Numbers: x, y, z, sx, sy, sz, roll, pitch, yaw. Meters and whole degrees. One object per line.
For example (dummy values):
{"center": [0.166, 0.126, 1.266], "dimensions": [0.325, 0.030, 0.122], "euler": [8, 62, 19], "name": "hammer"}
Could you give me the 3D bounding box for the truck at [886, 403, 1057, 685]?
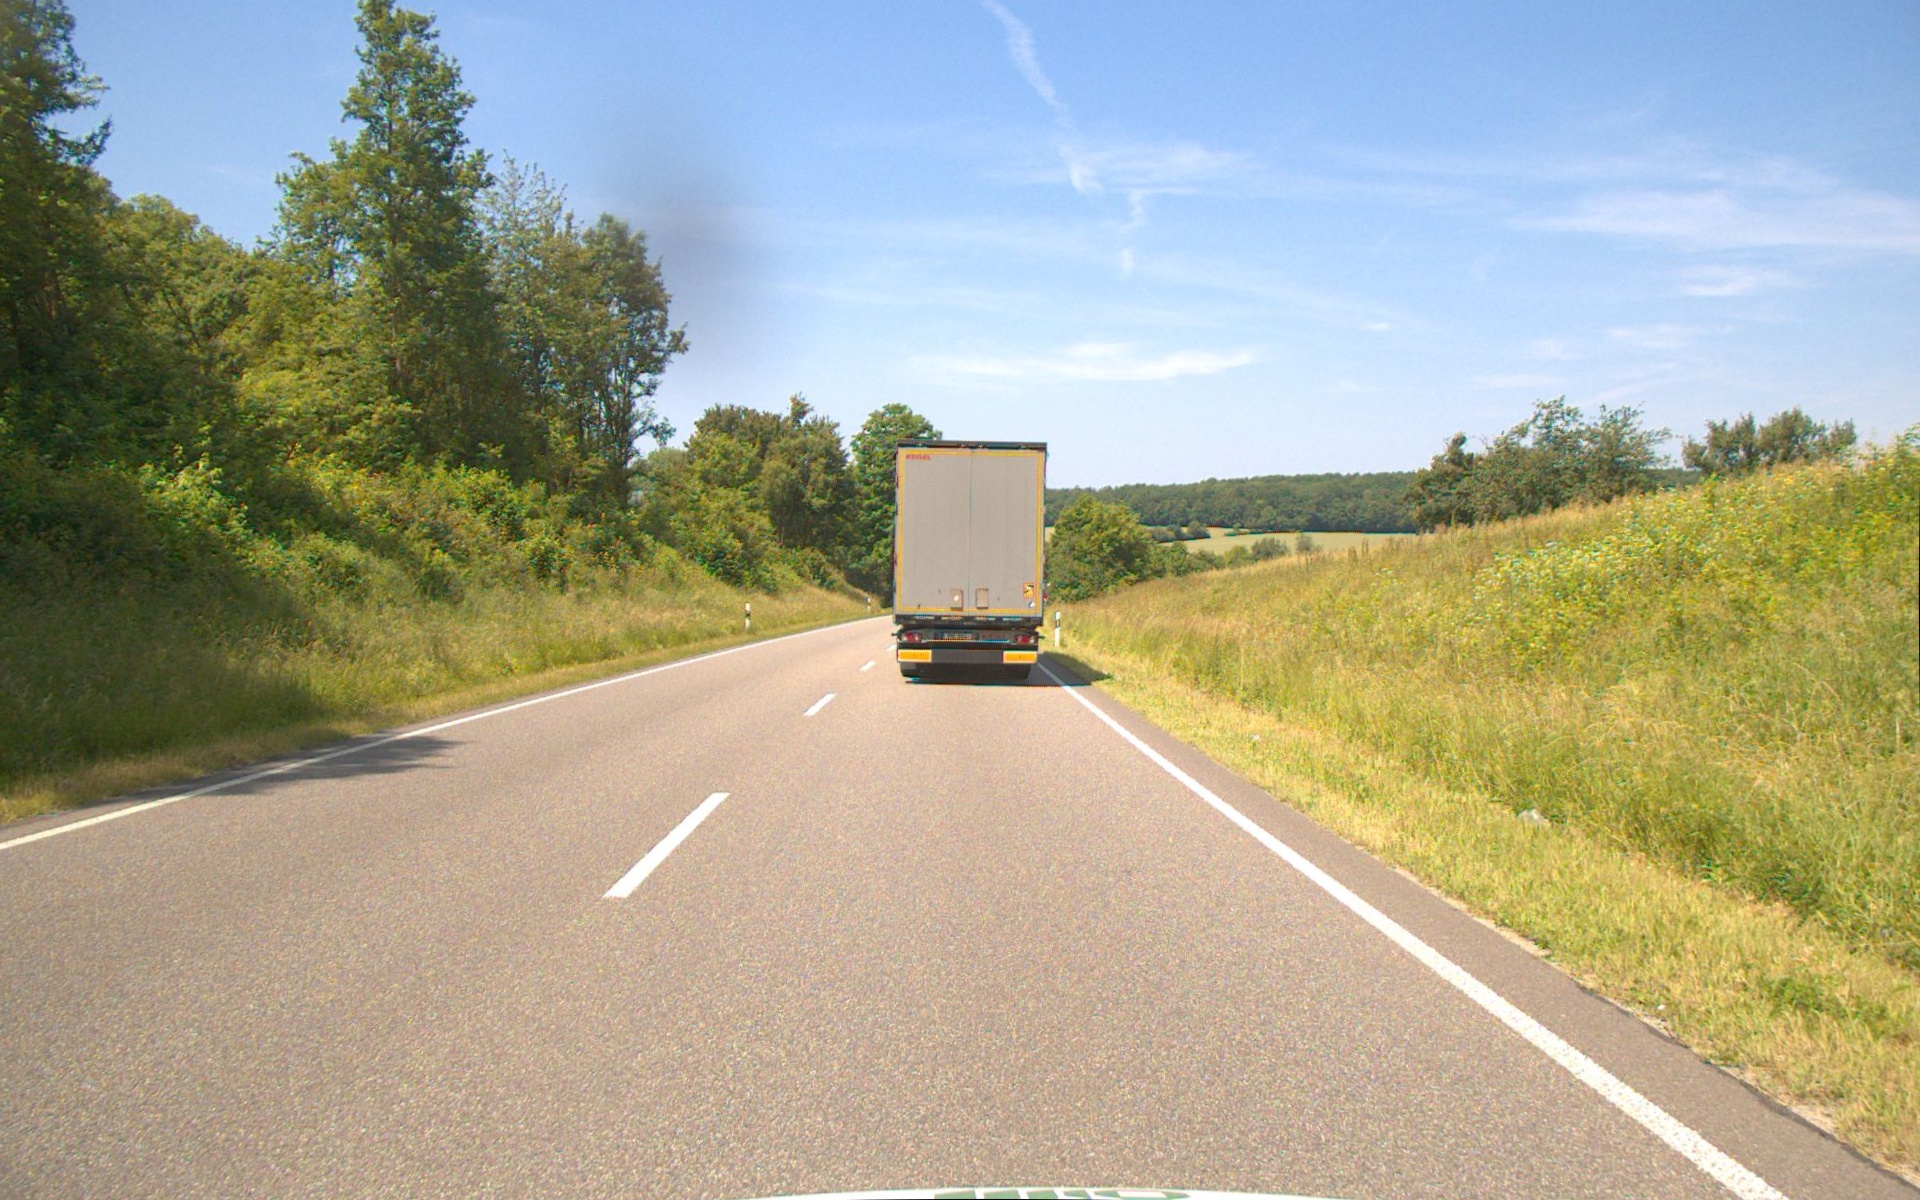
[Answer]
{"center": [0.097, -0.947, 33.143], "dimensions": [2.760, 4.612, 11.765], "euler": [1, 0, -1], "name": "truck"}
